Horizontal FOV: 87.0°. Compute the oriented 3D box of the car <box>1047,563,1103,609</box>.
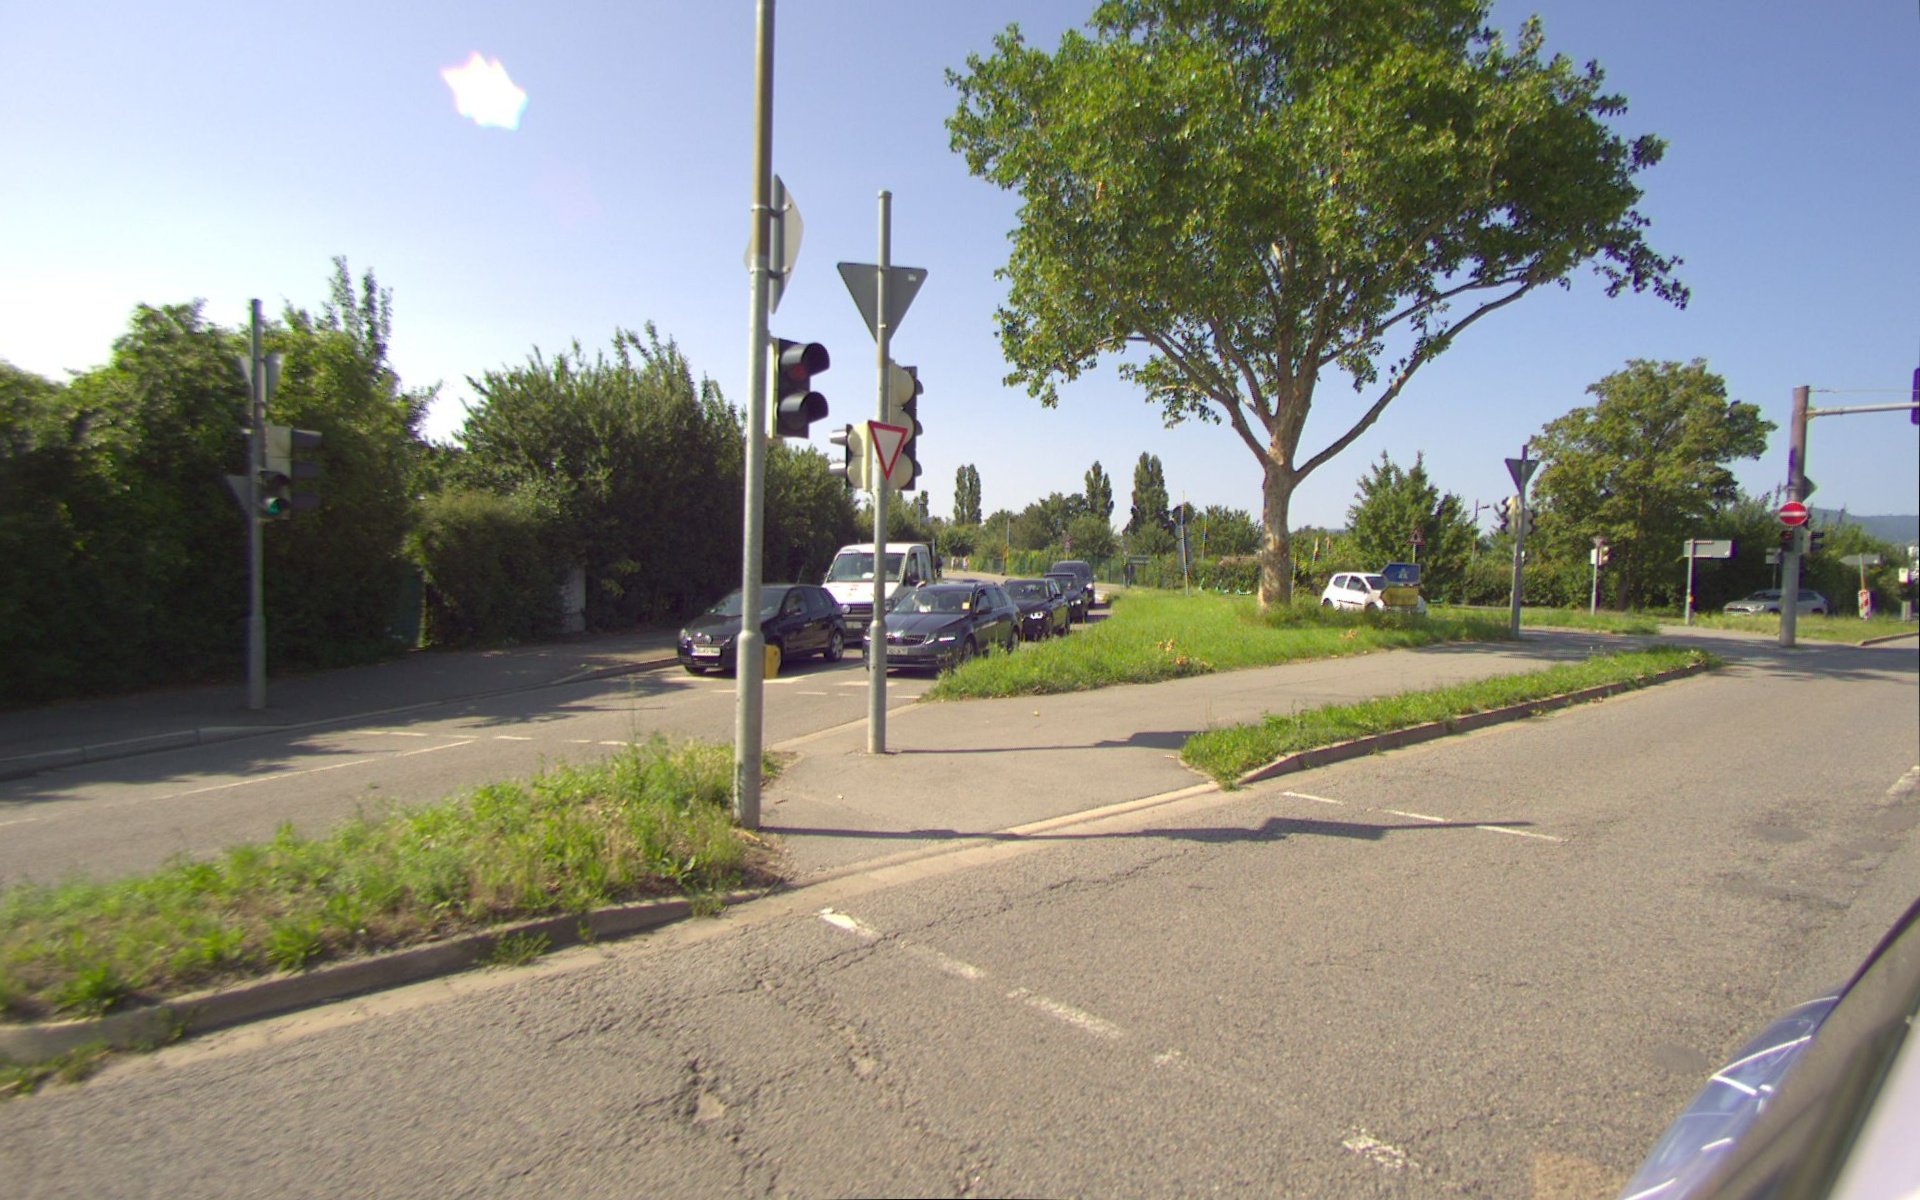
[{"bbox_3d":[4.381,-0.556,39.066,1.853,1.655,4.466,0,1,3],"label":"car"}]

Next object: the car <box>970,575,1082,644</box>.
[{"bbox_3d":[1.766,0.159,25.494,1.971,1.547,4.449,0,2,15],"label":"car"}]

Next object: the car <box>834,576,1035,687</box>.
[{"bbox_3d":[-0.256,0.402,17.389,1.974,1.566,4.589,2,2,19],"label":"car"}]

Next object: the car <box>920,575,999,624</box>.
[{"bbox_3d":[0.054,-0.050,32.677,1.860,1.437,3.989,0,2,10],"label":"car"}]

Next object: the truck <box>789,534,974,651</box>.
[{"bbox_3d":[-1.629,-0.244,24.336,2.312,2.415,6.444,-1,2,16],"label":"truck"}]

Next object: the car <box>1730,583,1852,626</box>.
[{"bbox_3d":[36.583,0.197,44.589,4.584,1.700,1.913,1,2,-18],"label":"car"}]

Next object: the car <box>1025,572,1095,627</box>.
[{"bbox_3d":[3.267,-0.063,32.388,1.857,1.655,4.456,0,1,10],"label":"car"}]

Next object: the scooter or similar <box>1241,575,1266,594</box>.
[{"bbox_3d":[17.933,-0.940,61.884,1.373,1.131,0.495,2,1,32],"label":"scooter or similar"}]

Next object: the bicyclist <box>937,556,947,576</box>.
[{"bbox_3d":[-1.246,-2.376,70.998,0.599,1.398,0.920,1,1,-7],"label":"bicyclist"}]

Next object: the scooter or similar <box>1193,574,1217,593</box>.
[{"bbox_3d":[15.453,-1.032,63.809,1.380,1.131,0.493,2,2,43],"label":"scooter or similar"}]

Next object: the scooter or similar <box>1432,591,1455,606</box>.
[{"bbox_3d":[26.993,-0.087,56.475,1.113,0.735,0.431,4,3,30],"label":"scooter or similar"}]

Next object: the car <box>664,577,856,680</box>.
[{"bbox_3d":[-3.352,0.400,17.699,1.600,1.566,3.802,0,2,19],"label":"car"}]

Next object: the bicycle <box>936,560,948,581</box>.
[{"bbox_3d":[-1.277,-2.081,71.179,0.599,1.393,2.285,1,2,-7],"label":"bicycle"}]

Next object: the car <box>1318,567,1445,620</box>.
[{"bbox_3d":[13.093,-0.236,31.668,1.748,1.487,3.764,1,2,-13],"label":"car"}]

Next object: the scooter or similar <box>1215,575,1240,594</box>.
[{"bbox_3d":[16.581,-0.985,62.763,1.380,1.131,0.493,2,2,43],"label":"scooter or similar"}]
